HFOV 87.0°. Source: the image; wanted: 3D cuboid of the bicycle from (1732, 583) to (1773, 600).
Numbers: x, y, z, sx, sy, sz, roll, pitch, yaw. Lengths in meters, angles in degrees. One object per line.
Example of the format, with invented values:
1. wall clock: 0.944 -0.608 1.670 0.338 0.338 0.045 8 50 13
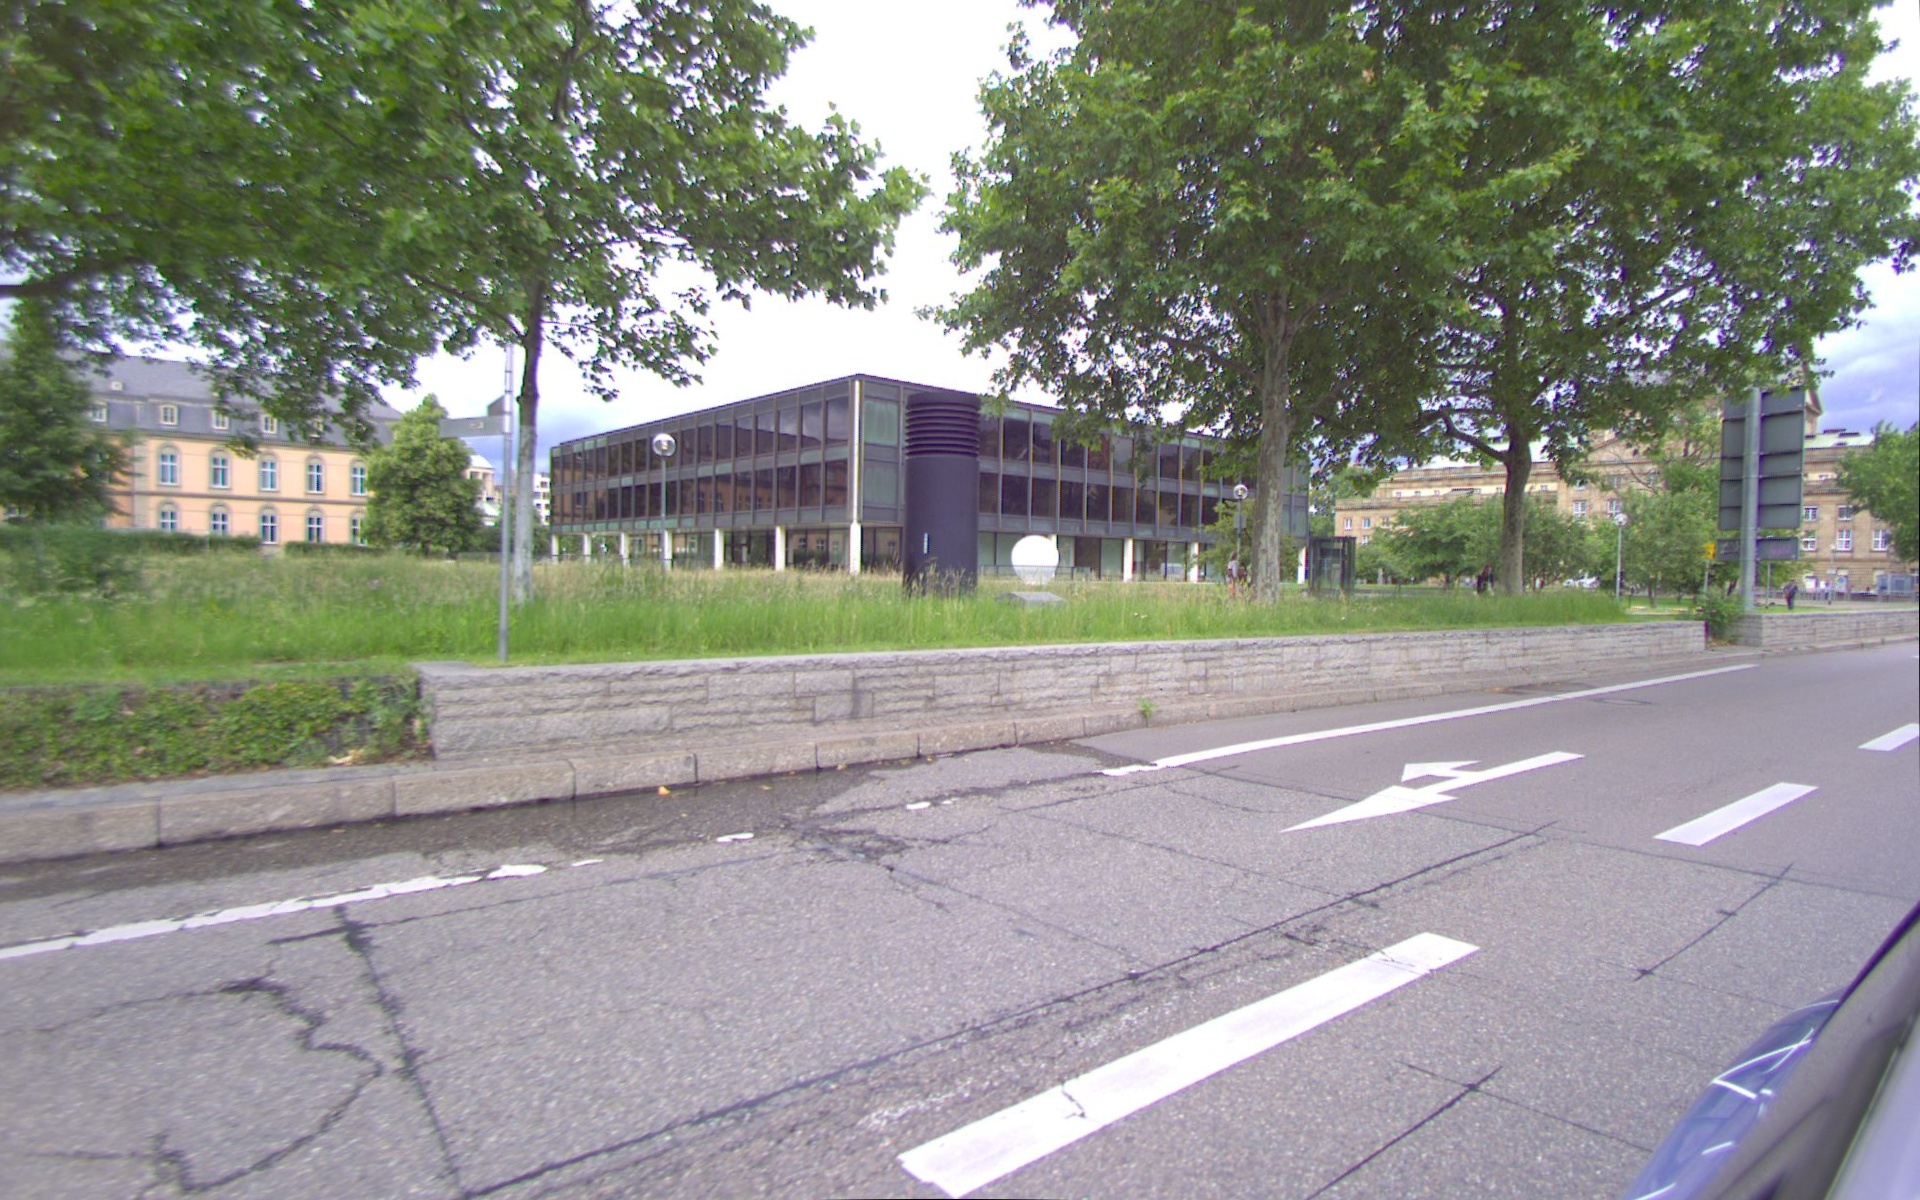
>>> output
1. bicycle: 57.293 -0.613 73.168 0.673 1.155 2.197 1 2 -39

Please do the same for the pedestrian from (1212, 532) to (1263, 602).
1. pedestrian: 7.595 -0.892 27.728 1.009 1.860 1.001 -1 -1 -9

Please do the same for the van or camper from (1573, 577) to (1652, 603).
1. van or camper: 59.777 -0.944 92.851 2.280 2.348 5.708 -2 2 -40

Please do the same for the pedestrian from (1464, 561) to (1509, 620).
1. pedestrian: 15.892 -0.283 30.530 0.951 1.755 0.898 0 -1 -40

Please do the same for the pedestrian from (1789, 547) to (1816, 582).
1. pedestrian: 40.039 -1.693 48.093 0.614 1.646 0.805 1 1 -32
